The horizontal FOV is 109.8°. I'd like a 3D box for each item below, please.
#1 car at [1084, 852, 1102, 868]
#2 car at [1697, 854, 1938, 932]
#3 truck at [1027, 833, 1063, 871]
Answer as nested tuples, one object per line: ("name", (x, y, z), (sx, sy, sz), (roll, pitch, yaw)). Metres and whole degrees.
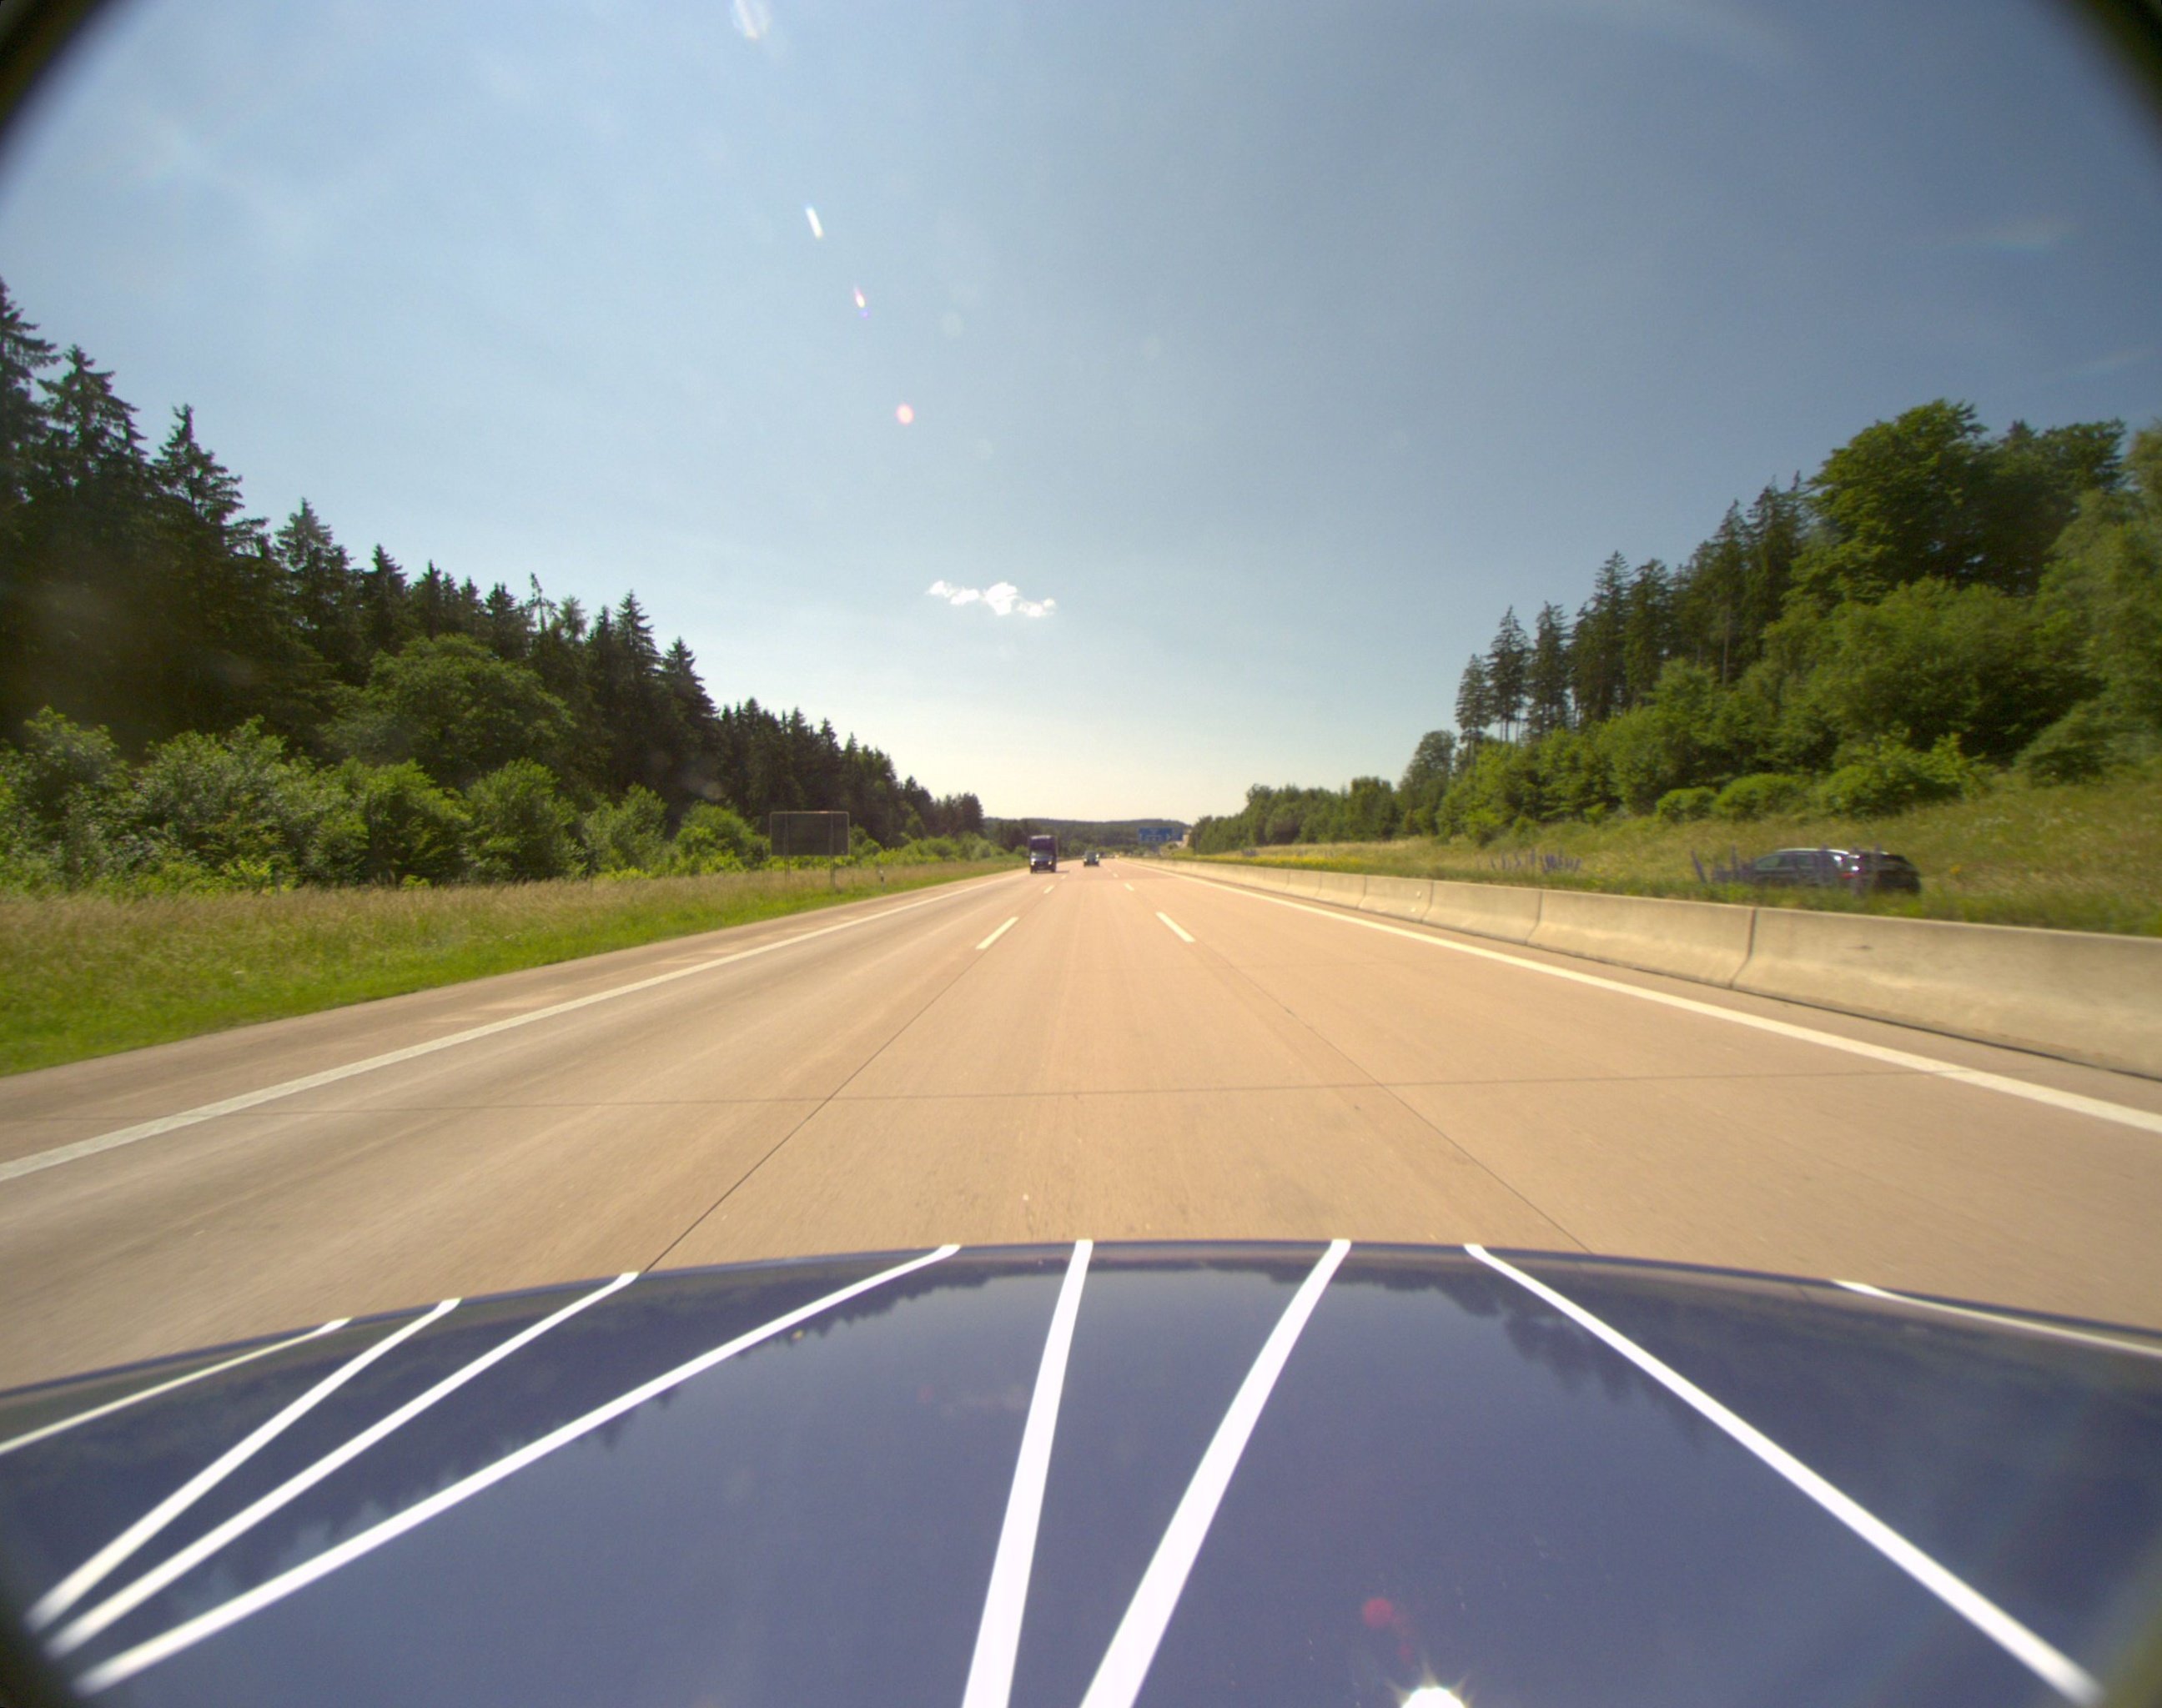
("car", (1.466, 0.664, 91.605), (1.998, 1.805, 4.565), (-2, 0, 3))
("car", (18.812, 0.898, 19.769), (1.896, 1.728, 4.463), (-1, 0, -1))
("truck", (-3.160, -0.166, 68.120), (2.508, 3.199, 7.785), (-2, 0, 2))
